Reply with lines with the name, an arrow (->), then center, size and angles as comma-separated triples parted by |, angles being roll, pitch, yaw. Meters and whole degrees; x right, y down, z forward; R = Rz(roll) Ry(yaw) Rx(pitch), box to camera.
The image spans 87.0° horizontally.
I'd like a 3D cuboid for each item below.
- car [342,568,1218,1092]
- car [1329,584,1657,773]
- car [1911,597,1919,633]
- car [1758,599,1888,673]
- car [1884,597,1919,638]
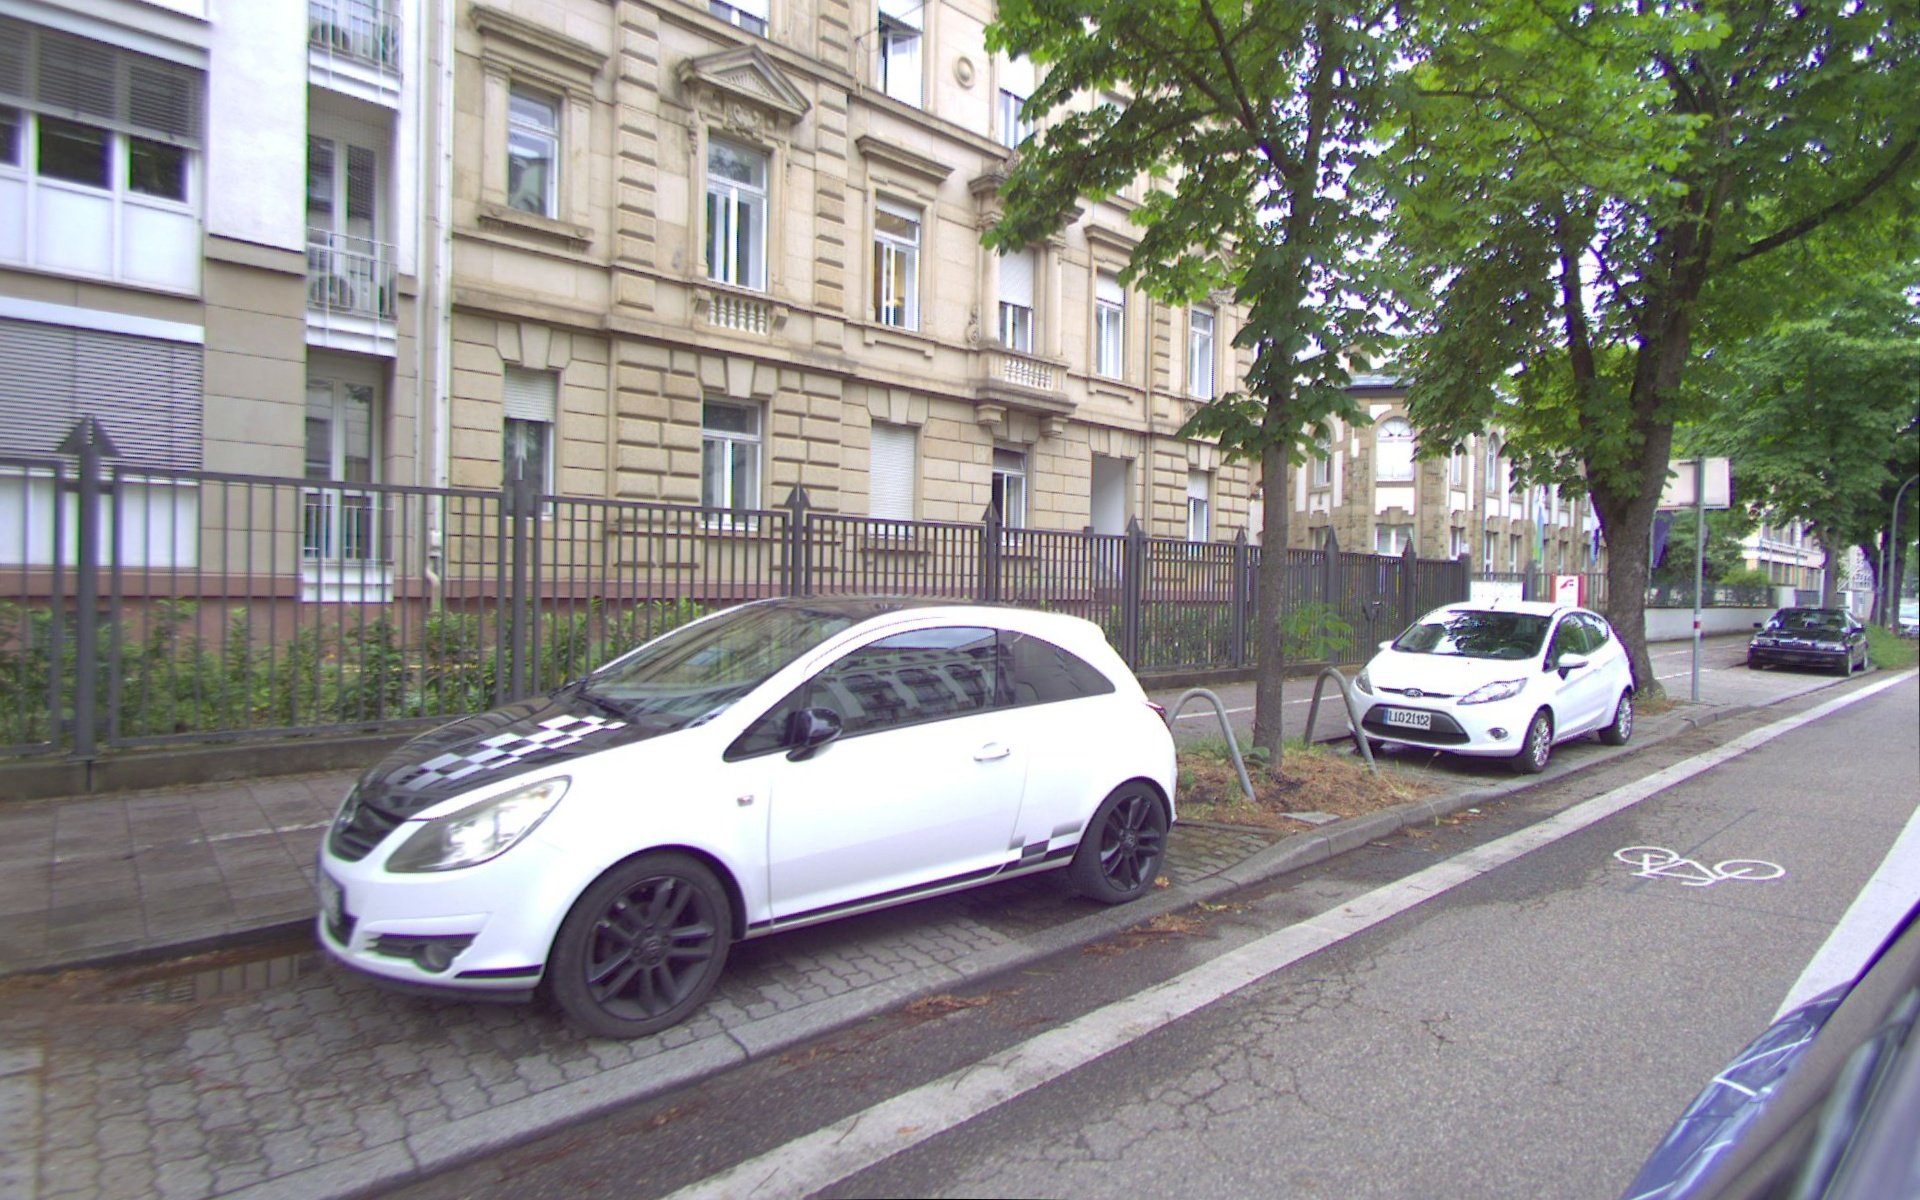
car -> -0.589, 0.644, 4.726 | 3.710, 1.453, 1.606 | 0, 3, -41
car -> 5.380, 0.623, 10.028 | 3.699, 1.453, 1.631 | 0, 3, -42
car -> 40.692, 0.650, 41.841 | 3.770, 1.442, 1.605 | 0, 3, -42
car -> 18.970, 0.717, 22.199 | 3.770, 1.387, 1.605 | 0, 3, -42
car -> 35.258, 0.646, 37.096 | 3.770, 1.387, 1.605 | 0, 3, -42
